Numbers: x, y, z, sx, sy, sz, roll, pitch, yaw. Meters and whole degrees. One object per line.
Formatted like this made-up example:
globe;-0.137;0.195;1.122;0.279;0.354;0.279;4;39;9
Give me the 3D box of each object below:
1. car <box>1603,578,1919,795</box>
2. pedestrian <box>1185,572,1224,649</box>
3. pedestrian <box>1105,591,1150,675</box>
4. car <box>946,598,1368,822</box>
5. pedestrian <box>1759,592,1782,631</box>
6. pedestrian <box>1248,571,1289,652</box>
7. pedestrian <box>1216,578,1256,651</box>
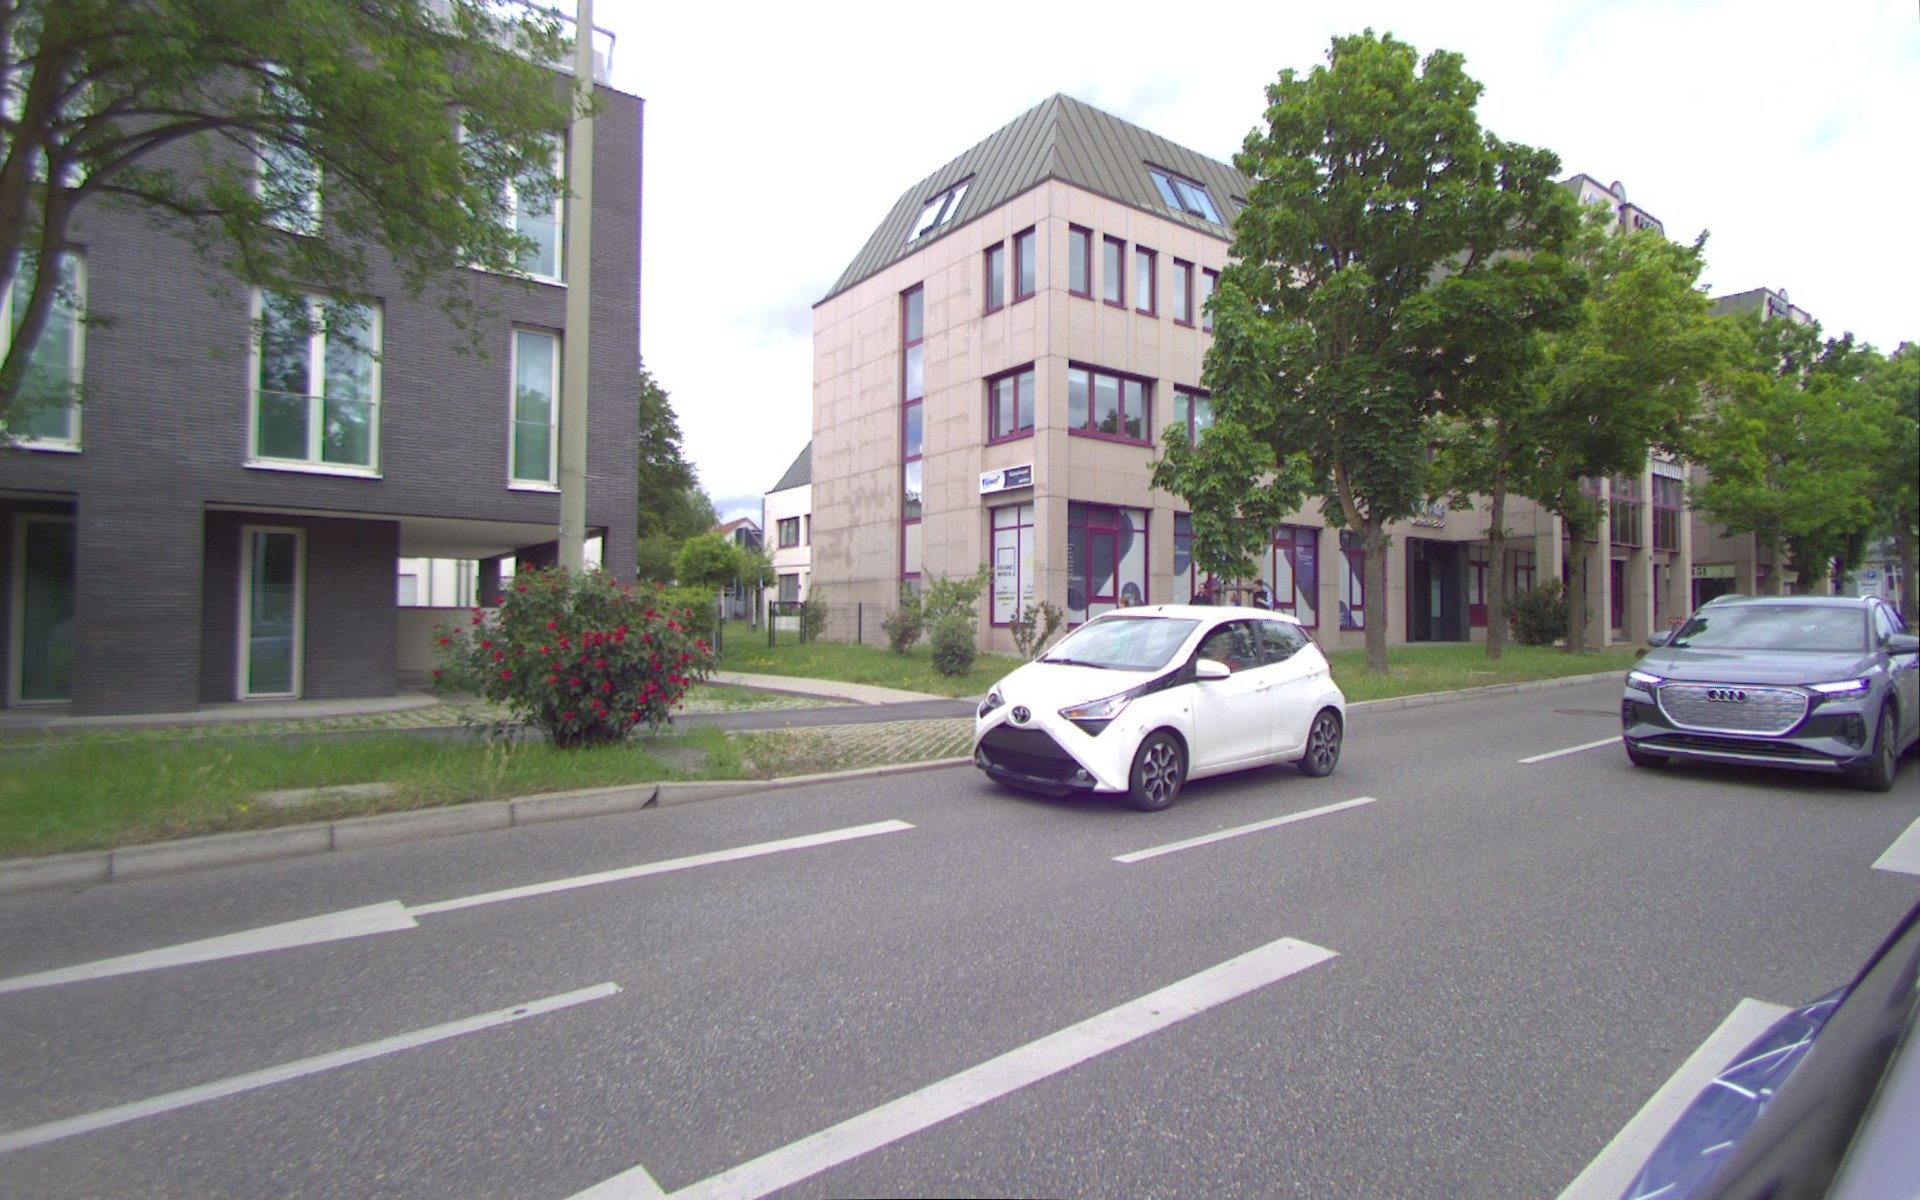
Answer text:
car;7.969;0.649;9.654;4.237;1.616;1.895;0;0;-40
pedestrian;5.891;0.254;24.344;0.665;1.828;0.642;0;-1;-41
pedestrian;3.159;0.614;19.081;0.665;1.537;0.496;0;2;-41
car;1.743;0.721;8.394;3.473;1.443;1.656;0;1;-41
pedestrian;38.890;0.546;48.559;0.932;1.845;0.718;0;0;-41
pedestrian;7.088;0.258;23.282;0.665;1.828;0.642;0;-1;-41
pedestrian;6.487;0.336;23.817;0.665;1.668;0.642;0;-1;-41
